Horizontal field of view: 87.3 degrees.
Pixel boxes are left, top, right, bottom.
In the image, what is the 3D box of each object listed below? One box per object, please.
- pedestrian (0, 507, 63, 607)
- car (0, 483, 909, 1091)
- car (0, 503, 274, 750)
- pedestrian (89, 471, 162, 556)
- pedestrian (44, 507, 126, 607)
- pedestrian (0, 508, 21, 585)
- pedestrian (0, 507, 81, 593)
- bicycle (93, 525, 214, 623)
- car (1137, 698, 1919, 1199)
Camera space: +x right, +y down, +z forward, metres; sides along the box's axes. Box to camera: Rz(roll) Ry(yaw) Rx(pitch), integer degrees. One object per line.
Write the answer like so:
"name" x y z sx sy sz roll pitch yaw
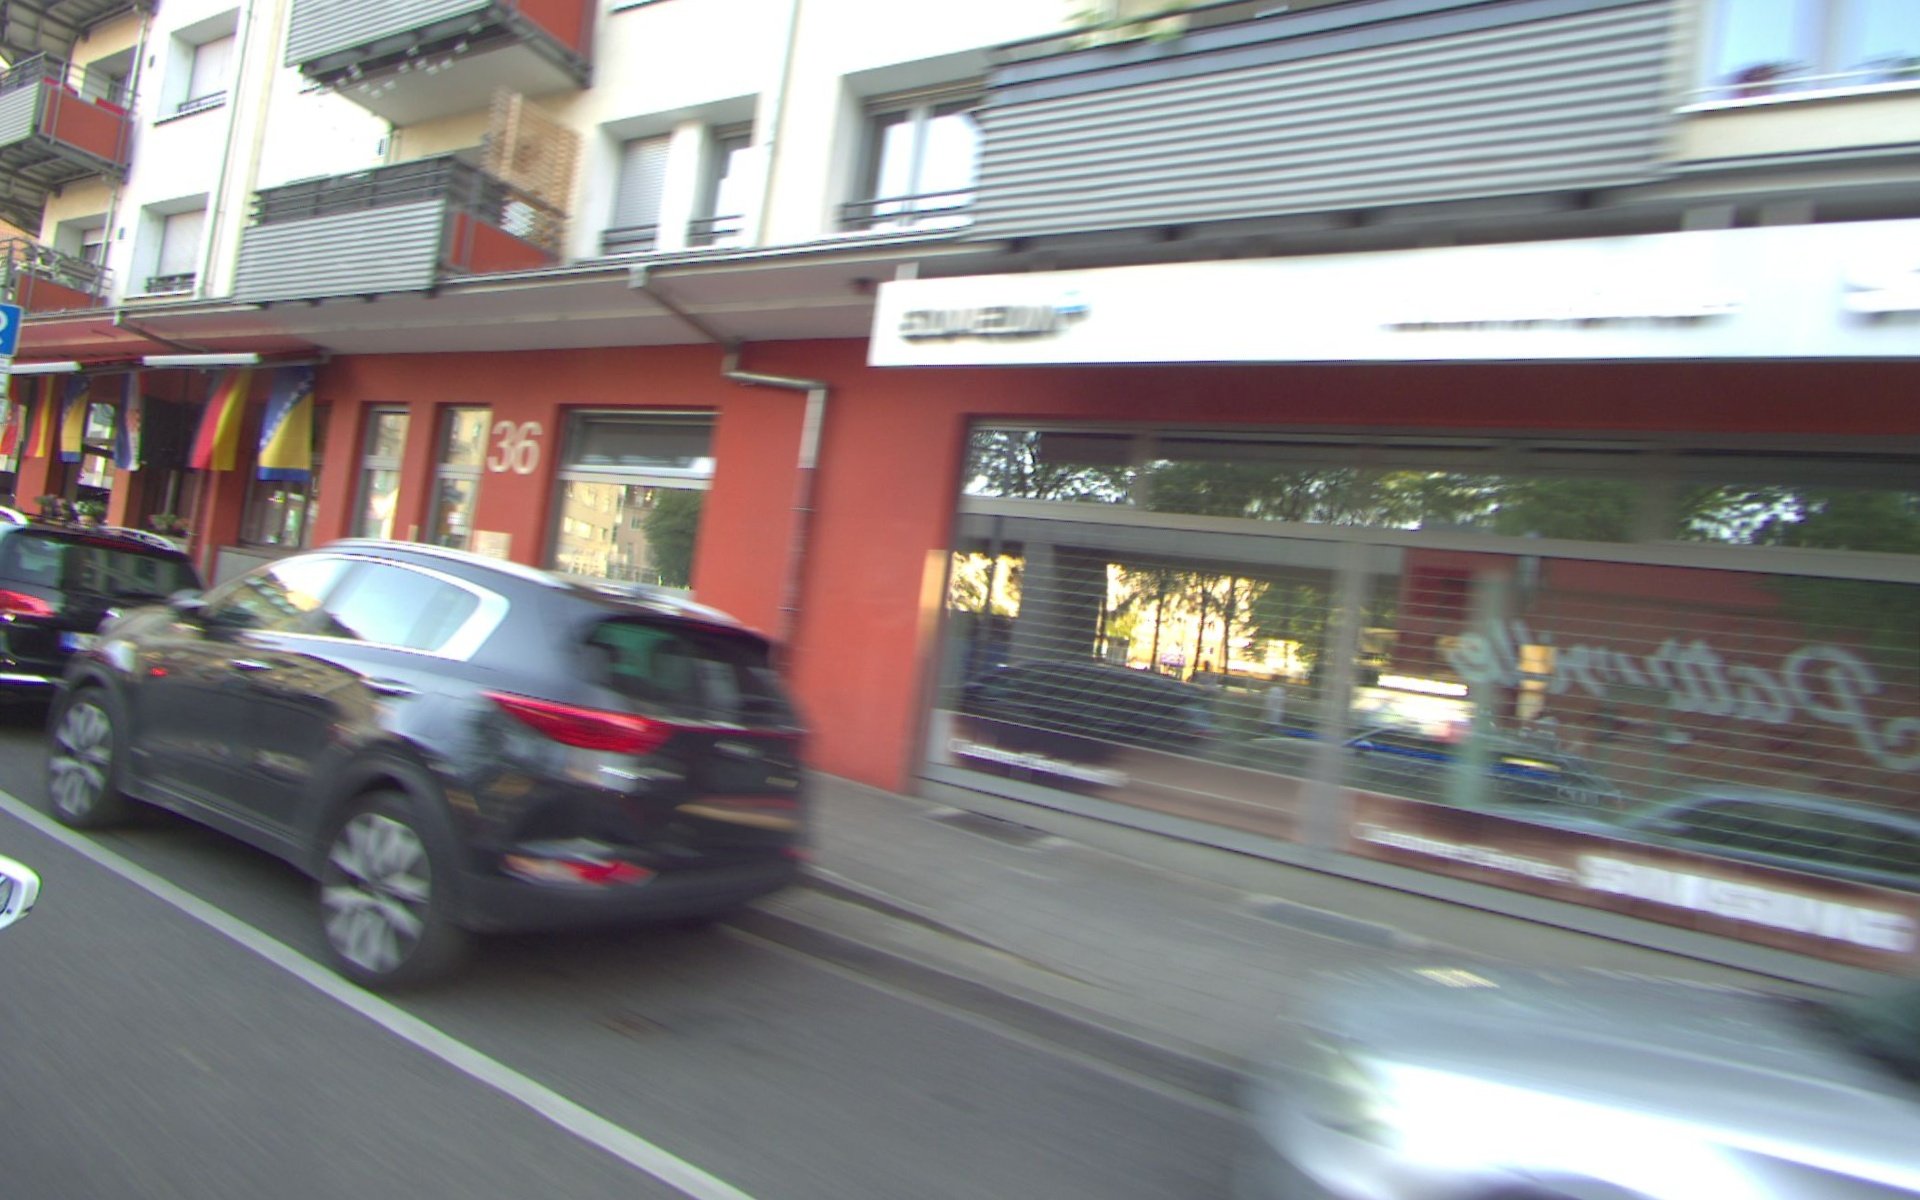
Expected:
"pedestrian" -13.121 -0.606 14.063 0.600 1.302 0.686 7 0 40
"car" -2.808 0.571 5.122 4.709 1.658 1.771 8 -4 31
"car" -7.765 -0.018 8.060 4.710 1.517 1.771 8 -4 31
"pedestrian" -17.912 -1.848 21.609 0.675 1.624 0.716 9 -2 4
"pedestrian" -12.999 -0.638 14.945 0.684 1.364 0.608 7 0 29
"pedestrian" -15.539 -0.881 16.104 0.529 1.216 0.417 6 1 -12
"pedestrian" -14.668 -0.784 15.998 0.702 1.239 0.780 7 1 30
"bicycle" -11.075 -0.362 13.805 1.713 1.167 0.537 5 -1 26
"car" 2.760 1.339 2.002 4.381 1.467 1.706 8 -4 29
